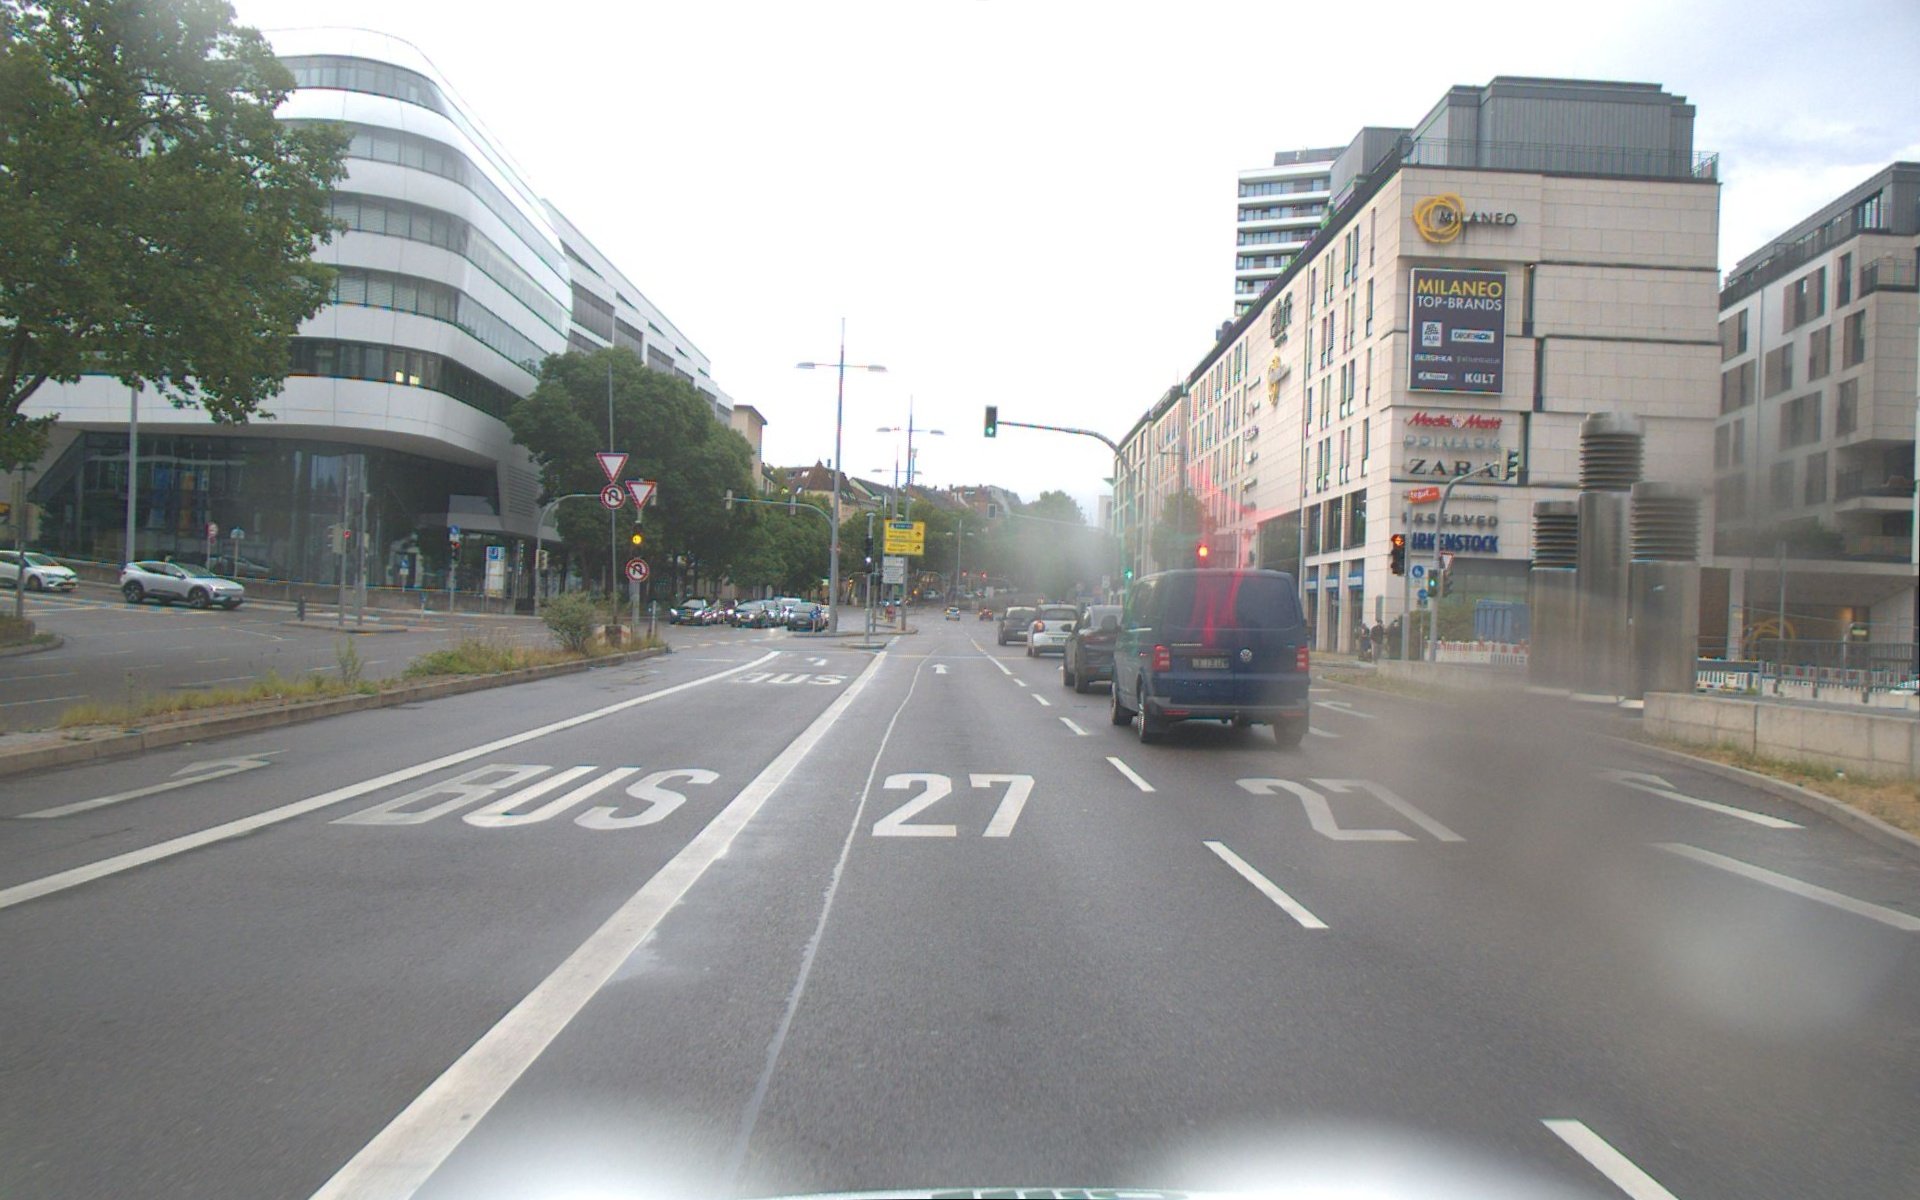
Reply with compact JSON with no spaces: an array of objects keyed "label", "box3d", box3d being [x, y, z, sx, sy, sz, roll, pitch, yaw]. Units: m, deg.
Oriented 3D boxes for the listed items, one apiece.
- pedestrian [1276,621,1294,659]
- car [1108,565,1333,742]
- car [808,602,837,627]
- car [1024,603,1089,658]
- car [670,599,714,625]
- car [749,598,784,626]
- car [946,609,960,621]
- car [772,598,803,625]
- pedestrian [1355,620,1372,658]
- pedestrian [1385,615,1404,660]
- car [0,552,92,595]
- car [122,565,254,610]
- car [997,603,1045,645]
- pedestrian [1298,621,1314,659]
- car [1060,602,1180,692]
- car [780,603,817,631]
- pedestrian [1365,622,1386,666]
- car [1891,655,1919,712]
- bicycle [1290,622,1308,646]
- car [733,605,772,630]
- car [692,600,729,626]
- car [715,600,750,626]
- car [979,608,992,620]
[{"label":"pedestrian","box3d":[14.106,1.740,71.742,0.600,1.639,0.818,1,-1,0]},{"label":"car","box3d":[3.039,0.558,20.378,1.991,1.915,5.042,0,0,0]},{"label":"car","box3d":[-8.607,0.940,103.662,1.507,1.503,3.695,1,-1,0]},{"label":"car","box3d":[2.824,0.906,49.001,1.689,1.558,3.813,1,-1,0]},{"label":"car","box3d":[-14.567,0.659,90.222,1.707,1.352,4.225,1,-1,0]},{"label":"car","box3d":[-11.529,0.726,98.729,1.707,1.586,3.539,1,-1,0]},{"label":"car","box3d":[-0.913,1.978,217.372,1.704,1.558,3.813,1,0,0]},{"label":"car","box3d":[-11.674,0.791,112.348,1.707,1.779,3.539,1,-1,0]},{"label":"pedestrian","box3d":[17.664,1.712,72.413,0.582,1.671,0.587,0,-2,24]},{"label":"pedestrian","box3d":[17.536,1.499,66.734,0.434,1.811,0.590,2,-2,-28]},{"label":"car","box3d":[-37.223,-1.062,66.427,3.902,1.660,1.896,1,-1,16]},{"label":"car","box3d":[-29.780,-0.475,63.832,4.406,1.660,1.896,1,-1,16]},{"label":"car","box3d":[2.345,0.928,64.463,1.704,1.558,3.813,1,-1,0]},{"label":"pedestrian","box3d":[14.973,1.737,71.562,0.539,1.639,0.698,1,-1,0]},{"label":"car","box3d":[2.917,0.819,30.969,1.754,1.533,4.338,1,0,-1]},{"label":"car","box3d":[-8.817,0.957,90.434,1.707,1.470,3.394,1,-1,0]},{"label":"pedestrian","box3d":[16.444,1.743,65.512,0.608,1.701,0.824,1,-1,0]},{"label":"car","box3d":[26.823,2.306,43.561,3.911,1.458,1.741,3,0,28]},{"label":"bicycle","box3d":[14.674,1.458,71.659,0.440,1.034,1.742,1,-1,0]},{"label":"car","box3d":[-11.508,0.937,91.754,1.707,1.279,3.539,2,0,0]},{"label":"car","box3d":[-14.902,0.784,98.960,1.707,1.448,3.539,1,-1,0]},{"label":"car","box3d":[-14.347,0.821,104.369,1.707,1.586,3.539,1,-1,0]},{"label":"car","box3d":[3.506,1.938,229.874,1.704,1.558,3.813,1,-1,0]}]
